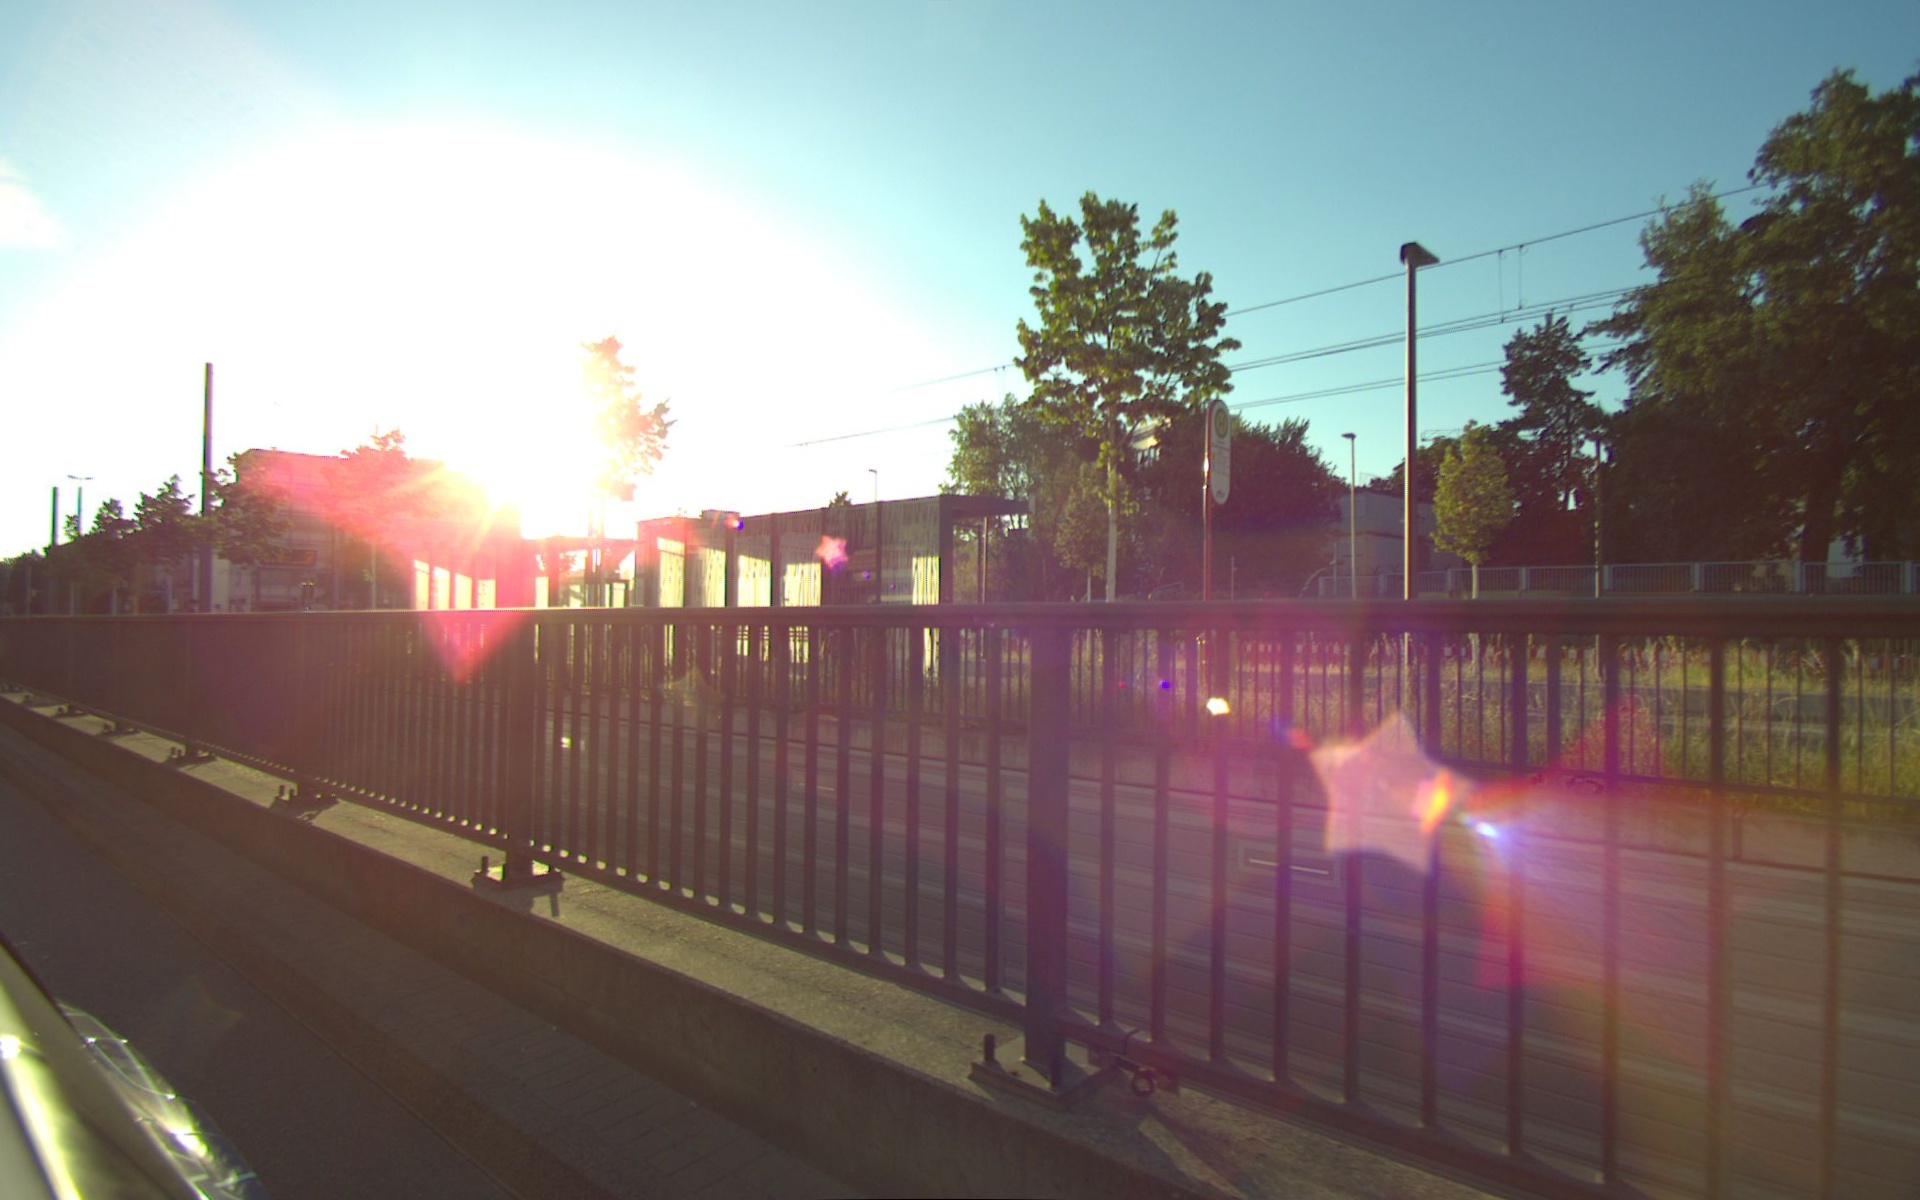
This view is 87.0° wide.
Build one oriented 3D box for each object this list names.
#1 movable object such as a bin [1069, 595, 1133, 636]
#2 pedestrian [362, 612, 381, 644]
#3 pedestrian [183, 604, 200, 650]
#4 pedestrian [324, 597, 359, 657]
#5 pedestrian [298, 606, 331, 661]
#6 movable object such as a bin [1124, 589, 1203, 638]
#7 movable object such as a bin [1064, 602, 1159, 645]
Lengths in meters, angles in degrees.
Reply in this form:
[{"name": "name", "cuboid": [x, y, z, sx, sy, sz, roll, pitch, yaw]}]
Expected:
[{"name": "movable object such as a bin", "cuboid": [9.779, 1.101, 70.208, 4.000, 2.727, 1.972, -1, -2, 43]}, {"name": "pedestrian", "cuboid": [-33.726, 1.590, 58.011, 0.817, 1.812, 0.686, -1, -2, 43]}, {"name": "pedestrian", "cuboid": [-30.362, 1.056, 39.977, 0.465, 1.800, 0.627, 1, -2, -42]}, {"name": "pedestrian", "cuboid": [-18.297, 0.802, 29.955, 0.633, 1.742, 0.630, -1, -2, 28]}, {"name": "pedestrian", "cuboid": [-21.202, 1.095, 33.248, 0.634, 1.758, 0.719, -2, -2, 33]}, {"name": "movable object such as a bin", "cuboid": [11.665, 0.773, 58.148, 4.000, 2.727, 1.972, -1, -2, 43]}, {"name": "movable object such as a bin", "cuboid": [8.256, 1.271, 55.458, 4.939, 2.263, 1.972, -1, -2, 43]}]
